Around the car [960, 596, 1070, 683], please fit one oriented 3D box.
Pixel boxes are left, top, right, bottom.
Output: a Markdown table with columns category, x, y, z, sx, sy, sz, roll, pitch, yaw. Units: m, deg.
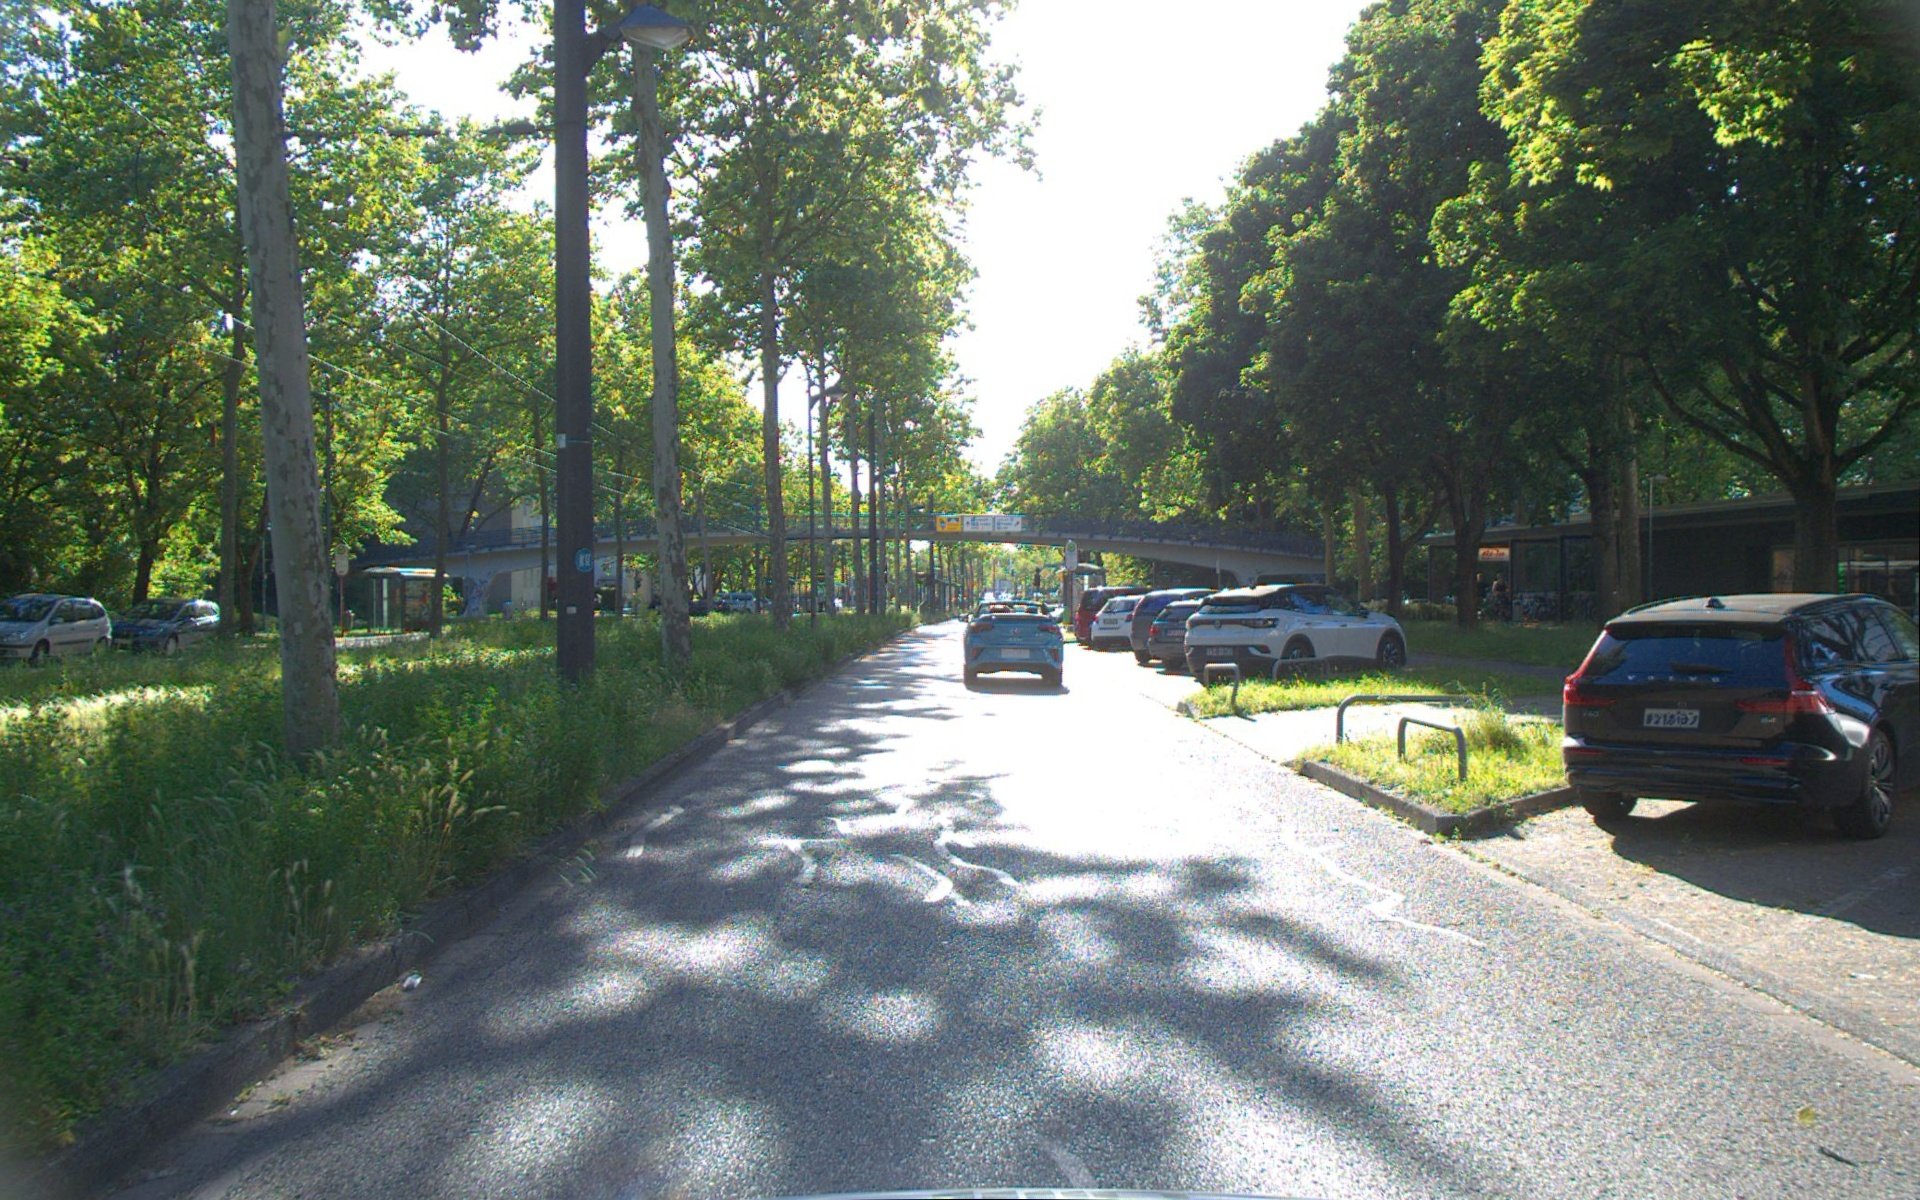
| category | x | y | z | sx | sy | sz | roll | pitch | yaw |
| --- | --- | --- | --- | --- | --- | --- | --- | --- | --- |
| car | 0.950 | 0.679 | 30.420 | 1.883 | 1.435 | 4.000 | 1 | 1 | 0 |

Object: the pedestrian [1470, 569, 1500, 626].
| category | x | y | z | sx | sy | sz | roll | pitch | yaw |
| --- | --- | --- | --- | --- | --- | --- | --- | --- | --- |
| pedestrian | 19.066 | -0.088 | 60.096 | 0.814 | 2.049 | 0.739 | 0 | 0 | -41 |

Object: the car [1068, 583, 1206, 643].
| category | x | y | z | sx | sy | sz | roll | pitch | yaw |
| --- | --- | --- | --- | --- | --- | --- | --- | --- | --- |
| car | 5.630 | 0.403 | 52.245 | 4.588 | 1.799 | 1.827 | 1 | 0 | -44 |

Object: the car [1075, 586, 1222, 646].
| category | x | y | z | sx | sy | sz | roll | pitch | yaw |
| --- | --- | --- | --- | --- | --- | --- | --- | --- | --- |
| car | 5.631 | 0.461 | 48.969 | 4.588 | 1.710 | 1.827 | 1 | 0 | -44 |

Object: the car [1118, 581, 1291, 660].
| category | x | y | z | sx | sy | sz | roll | pitch | yaw |
| --- | --- | --- | --- | --- | --- | --- | --- | --- | --- |
| car | 5.785 | 0.457 | 38.709 | 1.823 | 1.710 | 4.585 | -3 | -1 | 41 |

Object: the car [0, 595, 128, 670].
| category | x | y | z | sx | sy | sz | roll | pitch | yaw |
| --- | --- | --- | --- | --- | --- | --- | --- | --- | --- |
| car | -22.100 | 0.735 | 39.777 | 1.952 | 1.617 | 4.168 | 3 | 0 | 1 |

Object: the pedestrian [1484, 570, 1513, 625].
| category | x | y | z | sx | sy | sz | roll | pitch | yaw |
| --- | --- | --- | --- | --- | --- | --- | --- | --- | --- |
| pedestrian | 20.109 | -0.092 | 61.764 | 0.814 | 2.049 | 0.739 | 0 | 0 | -41 |

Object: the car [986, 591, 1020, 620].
| category | x | y | z | sx | sy | sz | roll | pitch | yaw |
| --- | --- | --- | --- | --- | --- | --- | --- | --- | --- |
| car | 2.546 | 0.313 | 98.806 | 1.953 | 1.680 | 4.000 | 1 | 1 | 0 |

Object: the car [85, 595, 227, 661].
| category | x | y | z | sx | sy | sz | roll | pitch | yaw |
| --- | --- | --- | --- | --- | --- | --- | --- | --- | --- |
| car | -21.920 | 0.728 | 45.278 | 1.750 | 1.617 | 4.168 | 3 | 0 | 1 |

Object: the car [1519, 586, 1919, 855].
| category | x | y | z | sx | sy | sz | roll | pitch | yaw |
| --- | --- | --- | --- | --- | --- | --- | --- | --- | --- |
| car | 5.837 | 0.661 | 11.595 | 1.945 | 1.484 | 4.595 | -1 | 0 | 43 |

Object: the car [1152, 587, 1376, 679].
| category | x | y | z | sx | sy | sz | roll | pitch | yaw |
| --- | --- | --- | --- | --- | --- | --- | --- | --- | --- |
| car | 5.812 | 0.592 | 31.259 | 4.588 | 1.597 | 1.827 | 1 | 0 | -44 |

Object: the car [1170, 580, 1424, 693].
| category | x | y | z | sx | sy | sz | roll | pitch | yaw |
| --- | --- | --- | --- | --- | --- | --- | --- | --- | --- |
| car | 5.632 | 0.562 | 27.287 | 4.588 | 1.710 | 1.827 | 1 | 0 | -44 |

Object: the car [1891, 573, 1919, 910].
| category | x | y | z | sx | sy | sz | roll | pitch | yaw |
| --- | --- | --- | --- | --- | --- | --- | --- | --- | --- |
| car | 6.716 | 0.641 | 8.866 | 4.590 | 1.597 | 1.826 | -1 | 0 | -45 |

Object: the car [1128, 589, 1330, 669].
| category | x | y | z | sx | sy | sz | roll | pitch | yaw |
| --- | --- | --- | --- | --- | --- | --- | --- | --- | --- |
| car | 5.712 | 0.563 | 34.822 | 4.588 | 1.548 | 1.827 | -1 | 0 | -44 |
